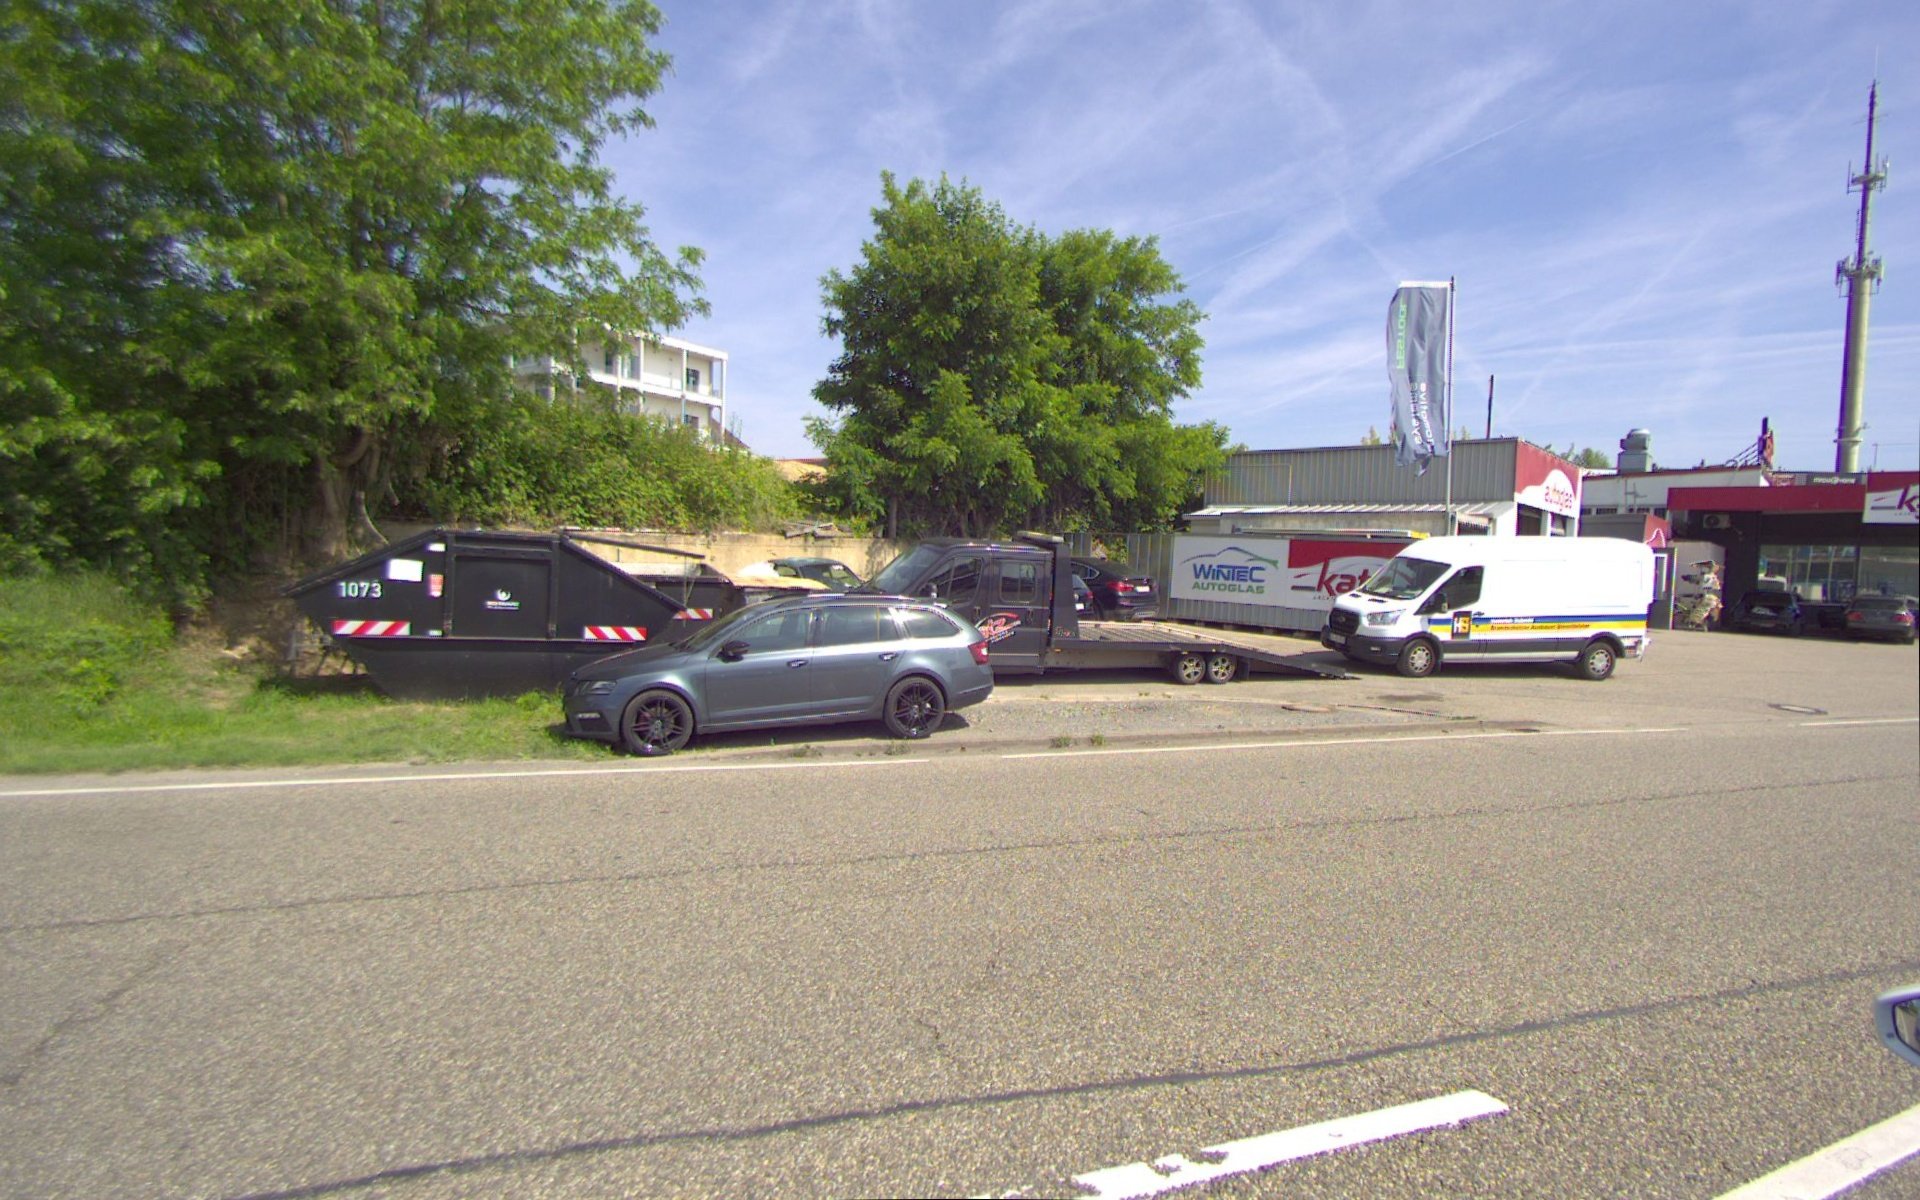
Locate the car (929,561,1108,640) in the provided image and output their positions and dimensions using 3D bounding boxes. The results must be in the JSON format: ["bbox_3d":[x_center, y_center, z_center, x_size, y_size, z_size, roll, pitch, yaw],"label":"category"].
[{"bbox_3d":[1.164,-0.038,21.258,1.726,1.489,3.626,0,2,-42],"label":"car"}]

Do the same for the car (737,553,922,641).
[{"bbox_3d":[-2.545,-0.116,19.039,1.726,1.489,3.626,0,2,-42],"label":"car"}]

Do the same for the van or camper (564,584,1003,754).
[{"bbox_3d":[-1.891,0.680,10.908,4.400,1.545,1.637,1,2,-21],"label":"van or camper"}]

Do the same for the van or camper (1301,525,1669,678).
[{"bbox_3d":[9.630,0.004,18.642,5.844,2.533,2.156,1,5,-11],"label":"van or camper"}]

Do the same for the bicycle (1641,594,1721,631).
[{"bbox_3d":[23.426,0.402,32.663,1.971,0.984,0.412,9,6,44],"label":"bicycle"}]

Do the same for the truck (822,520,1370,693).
[{"bbox_3d":[2.286,0.084,16.404,8.667,2.328,2.327,1,6,-20],"label":"truck"}]

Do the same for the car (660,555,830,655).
[{"bbox_3d":[-3.808,0.024,17.373,1.698,1.531,3.638,0,2,-33],"label":"car"}]

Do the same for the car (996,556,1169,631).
[{"bbox_3d":[2.767,-0.187,23.143,3.619,1.550,1.729,3,2,43],"label":"car"}]

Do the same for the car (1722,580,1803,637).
[{"bbox_3d":[27.071,0.226,33.840,1.832,1.525,3.979,7,7,41],"label":"car"}]

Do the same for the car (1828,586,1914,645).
[{"bbox_3d":[29.304,0.430,32.358,1.832,1.525,4.371,6,6,42],"label":"car"}]

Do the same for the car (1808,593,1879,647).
[{"bbox_3d":[32.901,0.689,37.485,1.678,1.783,3.744,6,5,39],"label":"car"}]
